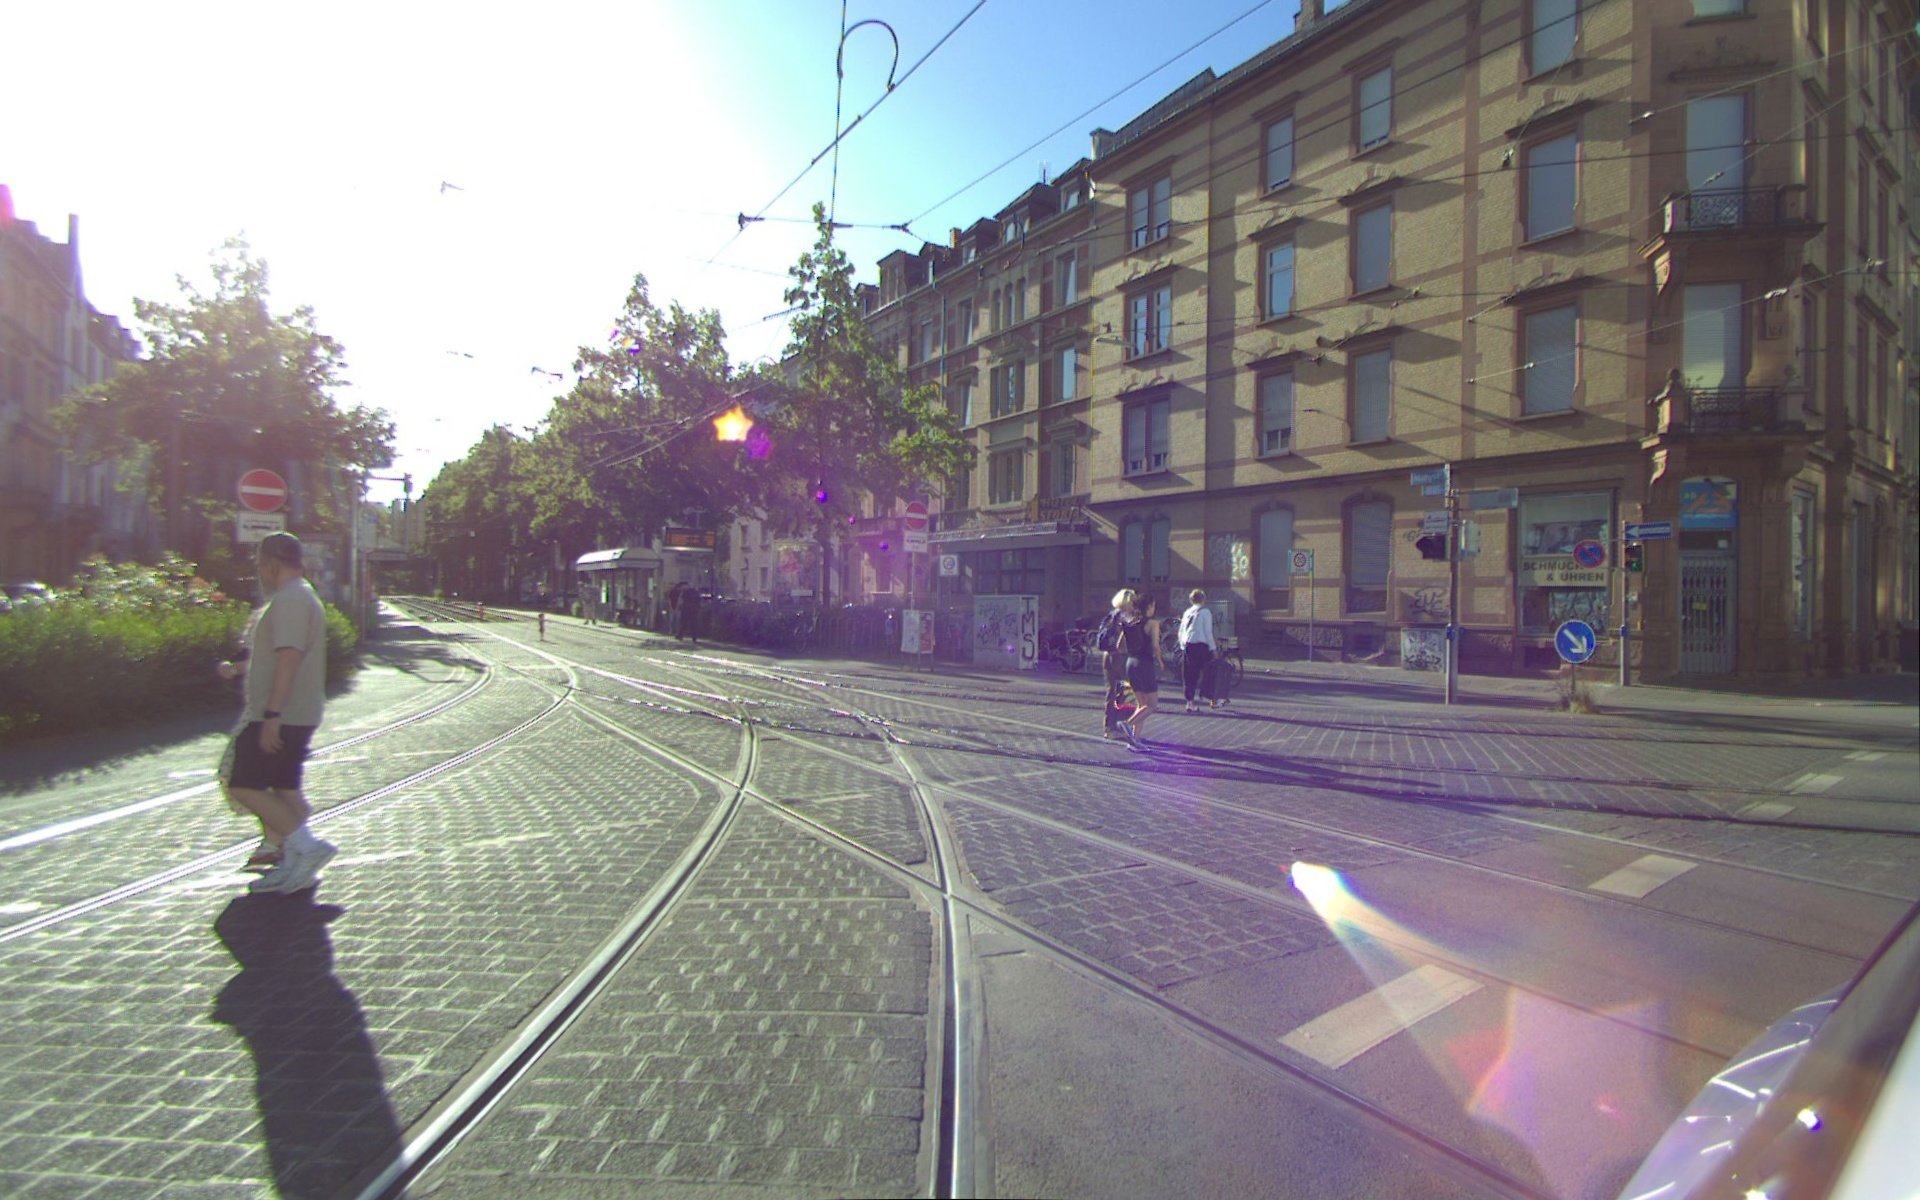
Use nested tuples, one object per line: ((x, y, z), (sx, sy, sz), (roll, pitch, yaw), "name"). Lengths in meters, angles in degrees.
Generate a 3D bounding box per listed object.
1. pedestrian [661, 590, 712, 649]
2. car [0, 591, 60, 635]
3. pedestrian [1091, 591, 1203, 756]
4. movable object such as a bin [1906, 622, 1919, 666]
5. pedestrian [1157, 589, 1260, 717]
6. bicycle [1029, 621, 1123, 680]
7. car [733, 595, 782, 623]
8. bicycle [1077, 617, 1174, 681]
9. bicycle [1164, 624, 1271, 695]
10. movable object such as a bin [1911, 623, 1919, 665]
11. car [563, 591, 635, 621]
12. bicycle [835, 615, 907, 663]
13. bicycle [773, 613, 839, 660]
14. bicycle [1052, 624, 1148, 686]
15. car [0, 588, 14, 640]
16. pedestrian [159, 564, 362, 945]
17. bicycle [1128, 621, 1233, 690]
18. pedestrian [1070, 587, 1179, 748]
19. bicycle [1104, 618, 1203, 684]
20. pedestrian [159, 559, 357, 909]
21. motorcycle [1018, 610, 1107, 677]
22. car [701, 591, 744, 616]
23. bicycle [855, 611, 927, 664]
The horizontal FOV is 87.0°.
((-7.829, 0.534, 29.014), (1.003, 1.652, 1.009), (1, 1, 35), "pedestrian")
((-32.511, 0.419, 34.681), (1.857, 1.416, 4.001), (3, -1, -33), "car")
((1.827, 0.698, 9.948), (0.923, 1.557, 0.635), (0, 1, -7), "pedestrian")
((24.513, 1.121, 25.645), (0.535, 1.085, 0.665), (1, 3, -36), "movable object such as a bin")
((3.375, 0.681, 13.787), (0.988, 1.652, 0.927), (0, 1, -23), "pedestrian")
((2.556, 1.093, 22.144), (2.271, 1.225, 0.650), (2, -1, -41), "bicycle")
((-11.523, 0.478, 57.350), (1.710, 1.438, 3.773), (0, 1, -28), "car")
((3.424, 0.999, 20.806), (2.271, 1.225, 0.650), (2, -1, -41), "bicycle")
((4.808, 1.080, 18.792), (2.271, 1.225, 0.752), (2, -1, -41), "bicycle")
((24.978, 1.150, 25.989), (0.580, 1.085, 0.665), (1, 3, -36), "movable object such as a bin")
((-23.165, 0.368, 65.006), (3.933, 1.834, 1.995), (-1, -1, 9), "car")
((-2.256, 0.992, 25.975), (0.647, 1.143, 2.012), (1, -1, 36), "bicycle")
((-3.961, 0.939, 26.197), (0.644, 1.143, 2.021), (1, -1, 25), "bicycle")
((2.978, 1.141, 21.353), (2.271, 1.225, 0.650), (2, -1, -41), "bicycle")
((-29.950, 0.405, 30.144), (1.857, 1.588, 4.001), (3, -1, -33), "car")
((-3.327, 0.674, 4.875), (0.618, 1.675, 0.704), (0, 1, -17), "pedestrian")
((4.264, 1.041, 19.441), (2.271, 1.225, 0.752), (2, 0, -41), "bicycle")
((1.754, 0.690, 10.921), (0.923, 1.652, 0.926), (0, 1, -7), "pedestrian")
((3.877, 1.005, 20.106), (2.271, 1.225, 0.650), (2, -1, -41), "bicycle")
((-3.797, 0.680, 5.528), (0.690, 1.767, 0.646), (-1, -1, -12), "pedestrian")
((2.406, 0.997, 23.673), (1.917, 1.422, 0.861), (3, -1, 15), "motorcycle")
((-14.826, 0.199, 62.975), (1.710, 1.438, 3.773), (0, 1, -28), "car")
((-1.704, 0.906, 25.260), (0.647, 1.225, 2.013), (1, 1, 36), "bicycle")
